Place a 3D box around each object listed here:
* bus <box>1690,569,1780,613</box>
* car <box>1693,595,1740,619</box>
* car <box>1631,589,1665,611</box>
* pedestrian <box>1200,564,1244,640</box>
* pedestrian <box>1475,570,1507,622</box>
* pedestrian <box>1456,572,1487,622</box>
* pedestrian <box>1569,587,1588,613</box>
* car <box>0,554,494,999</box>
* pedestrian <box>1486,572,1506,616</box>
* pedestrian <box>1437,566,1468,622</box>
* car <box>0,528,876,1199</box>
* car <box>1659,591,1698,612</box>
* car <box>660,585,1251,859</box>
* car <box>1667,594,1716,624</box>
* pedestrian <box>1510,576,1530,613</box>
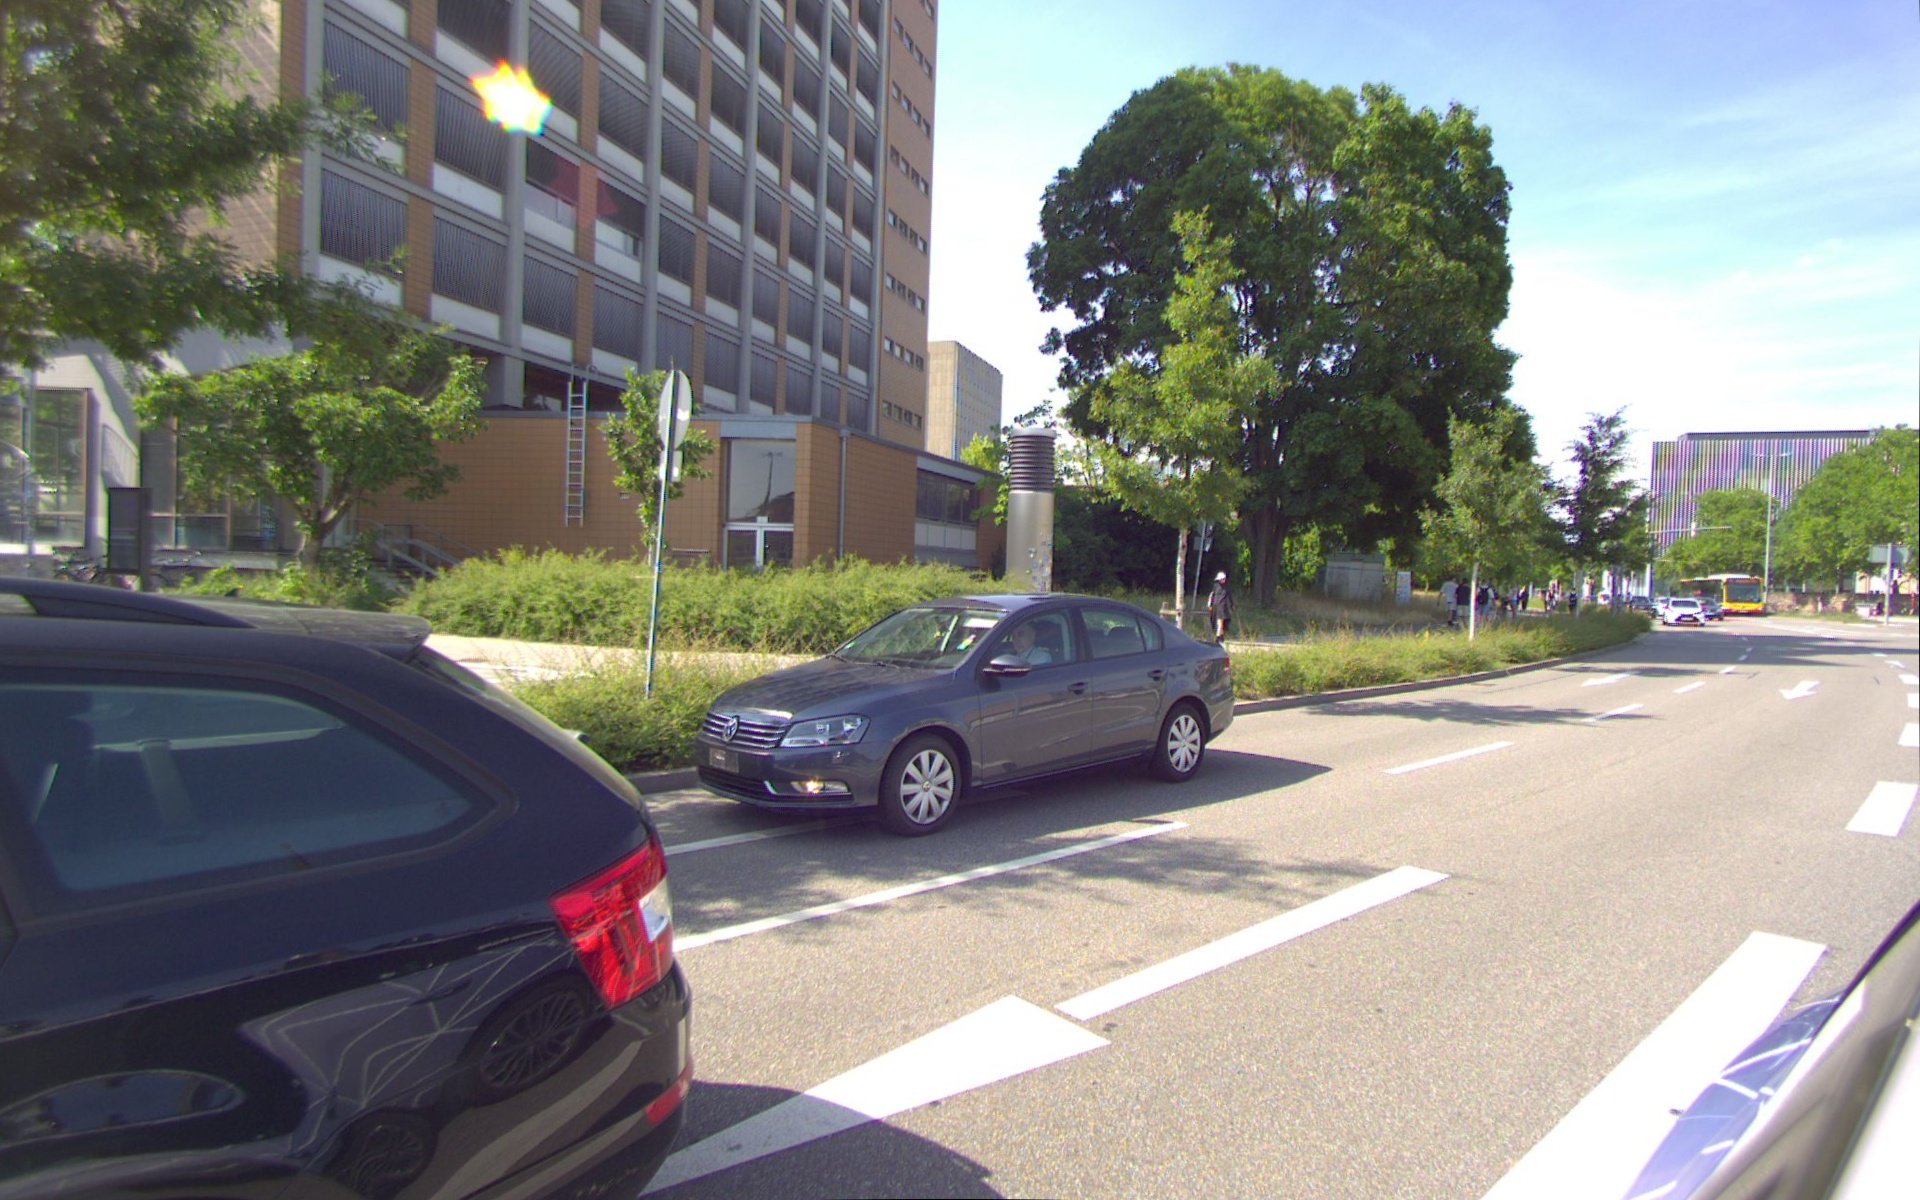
[{"bbox_3d":[60.112,-0.711,78.831,2.767,3.076,12.048,2,1,24],"label":"bus"},{"bbox_3d":[48.312,0.437,64.727,1.635,1.442,4.083,0,0,26],"label":"car"},{"bbox_3d":[45.504,-0.014,66.997,1.397,1.311,3.547,2,2,27],"label":"car"},{"bbox_3d":[5.992,0.040,23.146,0.719,1.684,0.592,0,3,-41],"label":"pedestrian"},{"bbox_3d":[17.877,-0.136,34.091,0.739,1.694,0.643,0,3,-41],"label":"pedestrian"},{"bbox_3d":[17.333,-0.100,34.274,0.719,1.646,0.643,0,3,-41],"label":"pedestrian"},{"bbox_3d":[28.418,0.003,46.490,0.639,1.145,0.743,4,3,33],"label":"pedestrian"},{"bbox_3d":[-4.156,0.564,3.492,4.323,1.448,1.702,1,0,-43],"label":"car"},{"bbox_3d":[22.343,-0.240,42.172,0.638,1.785,0.470,3,3,29],"label":"pedestrian"},{"bbox_3d":[16.920,-0.207,34.772,0.719,1.860,0.643,0,3,-41],"label":"pedestrian"},{"bbox_3d":[-2.449,0.638,1.096,4.698,1.453,1.633,-1,1,-42],"label":"car"},{"bbox_3d":[51.737,0.117,72.905,1.635,1.442,4.083,0,0,26],"label":"car"},{"bbox_3d":[0.224,0.619,7.511,4.451,1.453,1.633,-1,1,-42],"label":"car"},{"bbox_3d":[38.614,0.438,53.487,1.668,1.493,3.721,0,0,29],"label":"car"},{"bbox_3d":[23.106,-0.228,41.771,0.638,1.464,0.564,3,3,29],"label":"pedestrian"}]
